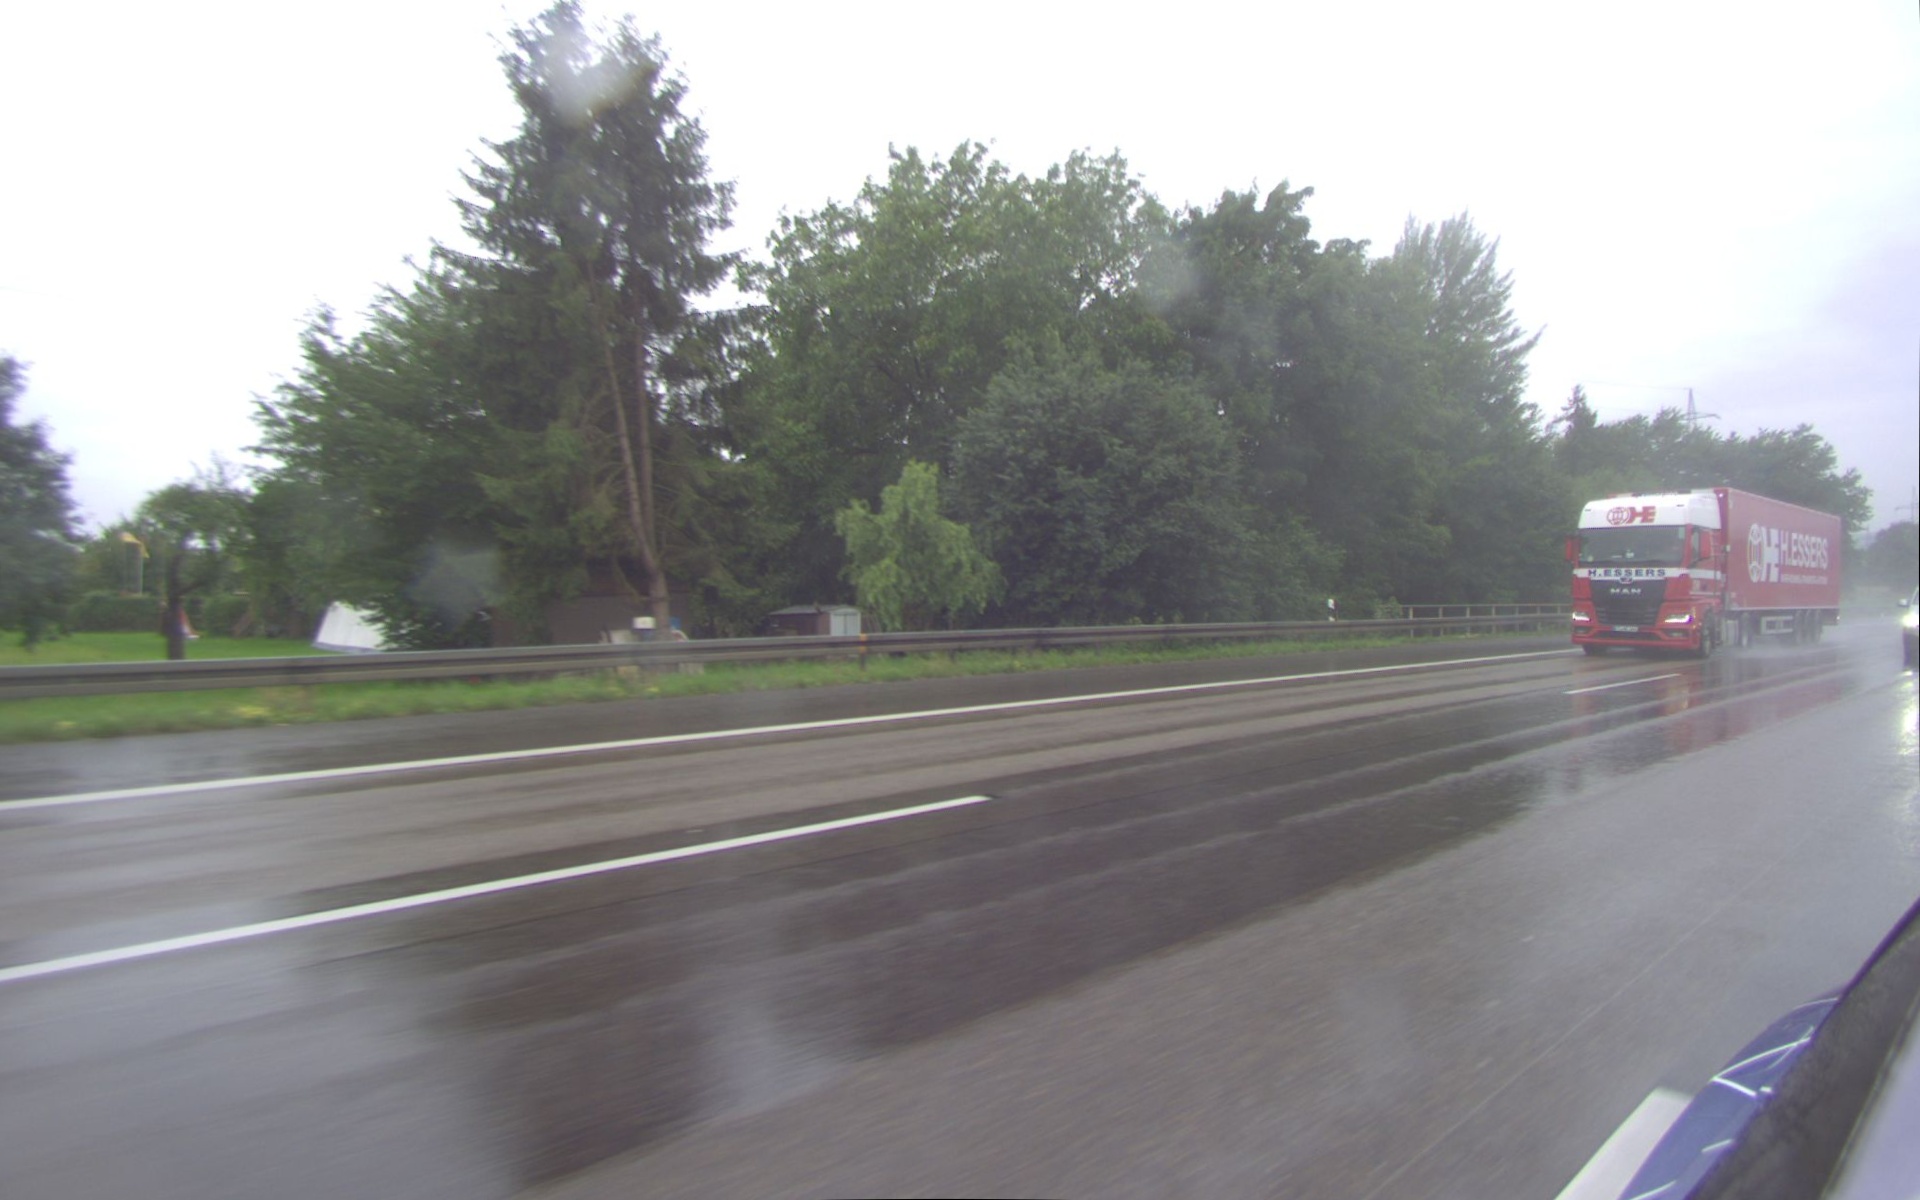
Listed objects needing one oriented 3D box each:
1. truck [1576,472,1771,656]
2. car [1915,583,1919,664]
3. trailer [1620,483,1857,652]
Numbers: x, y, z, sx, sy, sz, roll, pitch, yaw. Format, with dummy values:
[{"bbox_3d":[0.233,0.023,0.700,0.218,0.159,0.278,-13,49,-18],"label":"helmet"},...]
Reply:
[{"bbox_3d":[17.505,-0.808,24.721,5.336,4.005,2.625,0,0,-40],"label":"truck"},{"bbox_3d":[25.192,0.527,24.826,4.919,1.908,1.890,0,-3,-39],"label":"car"},{"bbox_3d":[22.903,-0.835,29.271,13.388,4.005,2.625,-1,0,-40],"label":"trailer"}]
